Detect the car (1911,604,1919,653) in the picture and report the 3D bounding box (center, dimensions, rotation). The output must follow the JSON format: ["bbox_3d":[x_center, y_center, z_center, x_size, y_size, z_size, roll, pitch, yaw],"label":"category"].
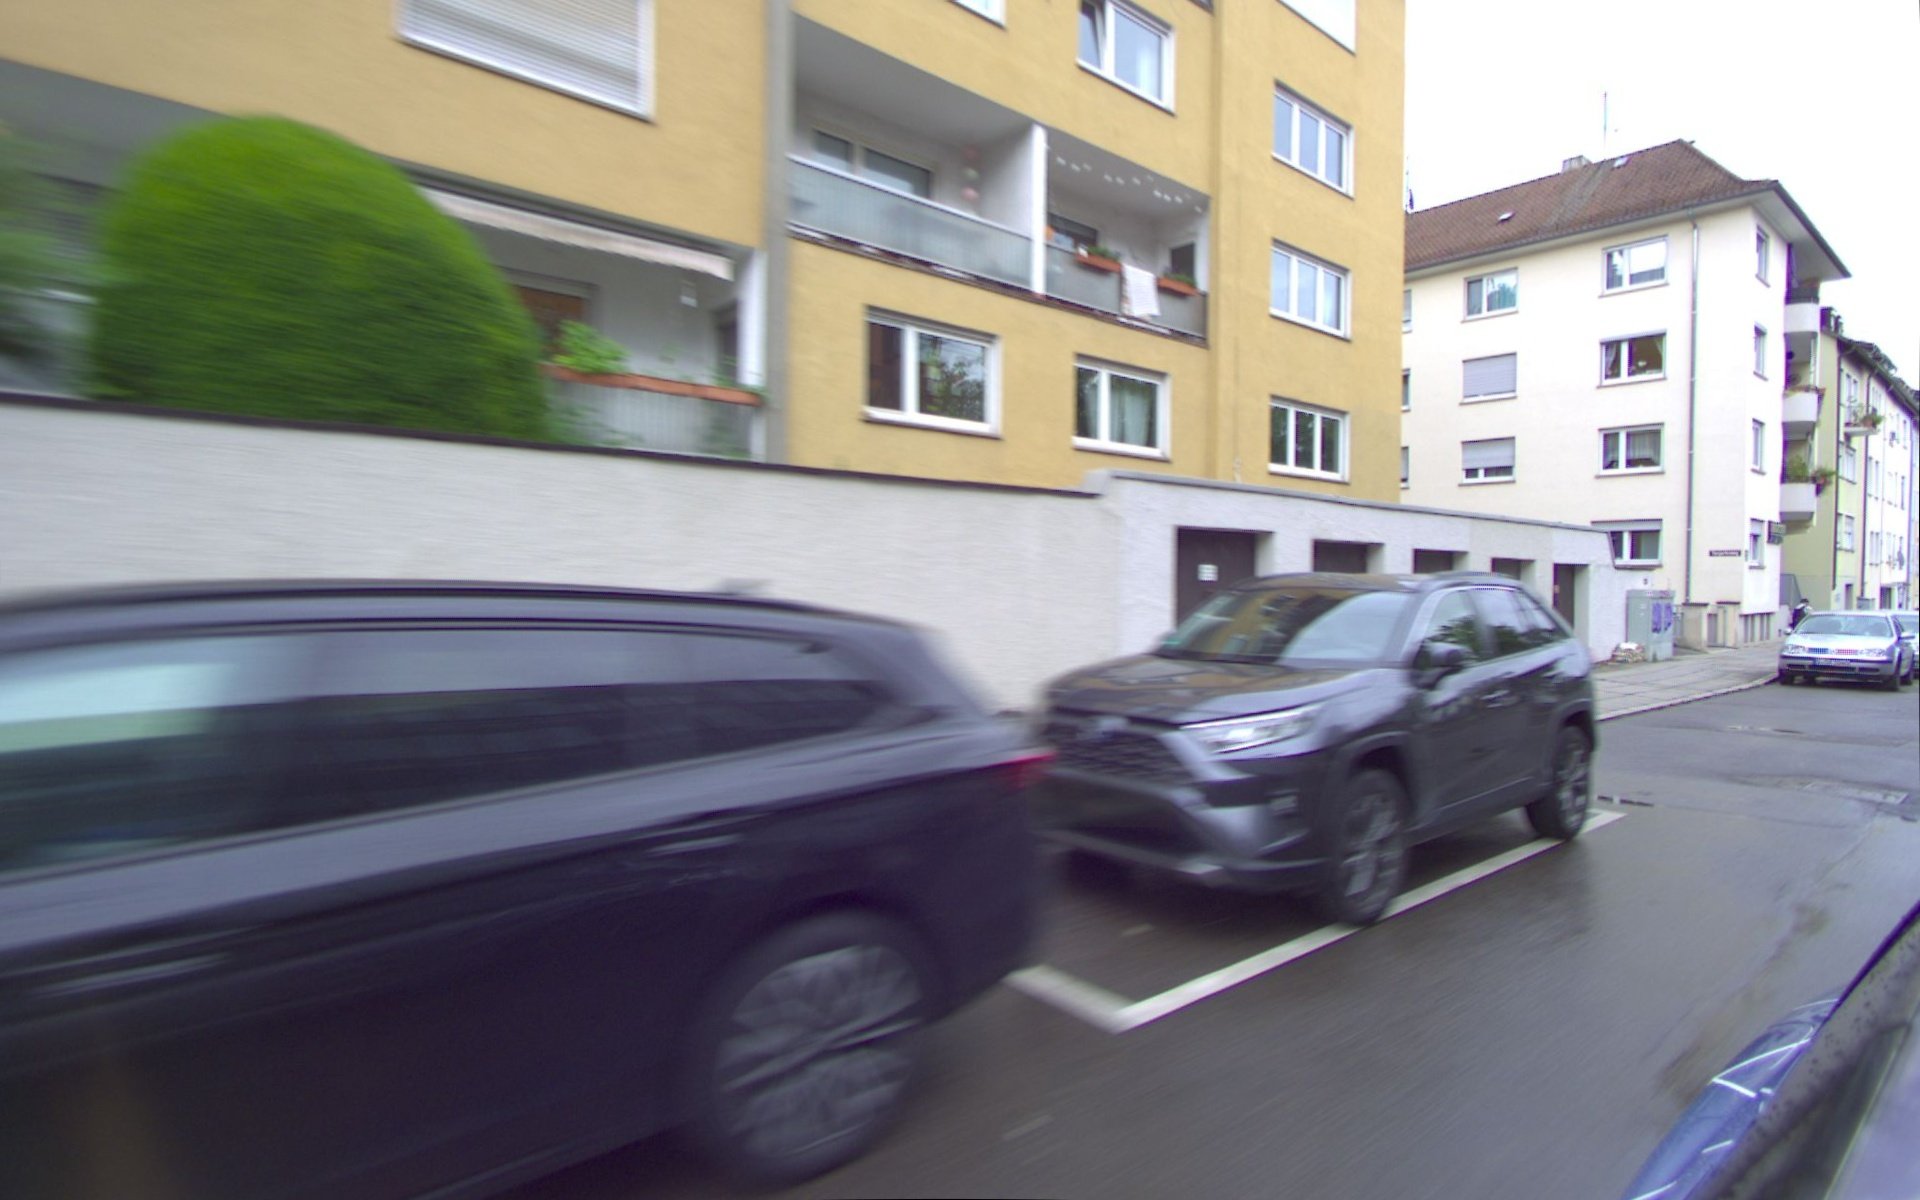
[{"bbox_3d":[30.381,0.854,30.848,3.444,1.449,1.739,-1,1,-41],"label":"car"}]

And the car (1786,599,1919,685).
[{"bbox_3d":[17.311,0.726,19.380,3.773,1.395,1.739,-2,2,-41],"label":"car"}]

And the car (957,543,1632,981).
[{"bbox_3d":[2.261,0.558,6.017,4.497,1.667,1.804,-2,1,-41],"label":"car"}]

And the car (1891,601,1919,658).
[{"bbox_3d":[27.056,0.801,27.885,3.444,1.449,1.739,-1,1,-41],"label":"car"}]

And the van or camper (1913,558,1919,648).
[{"bbox_3d":[36.318,0.043,36.001,6.907,3.096,2.752,-1,1,-40],"label":"van or camper"}]

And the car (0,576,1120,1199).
[{"bbox_3d":[-1.768,0.682,2.430,4.375,1.444,1.914,-1,1,-41],"label":"car"}]

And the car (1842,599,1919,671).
[{"bbox_3d":[21.285,0.735,22.720,3.902,1.395,1.739,-2,2,-41],"label":"car"}]
